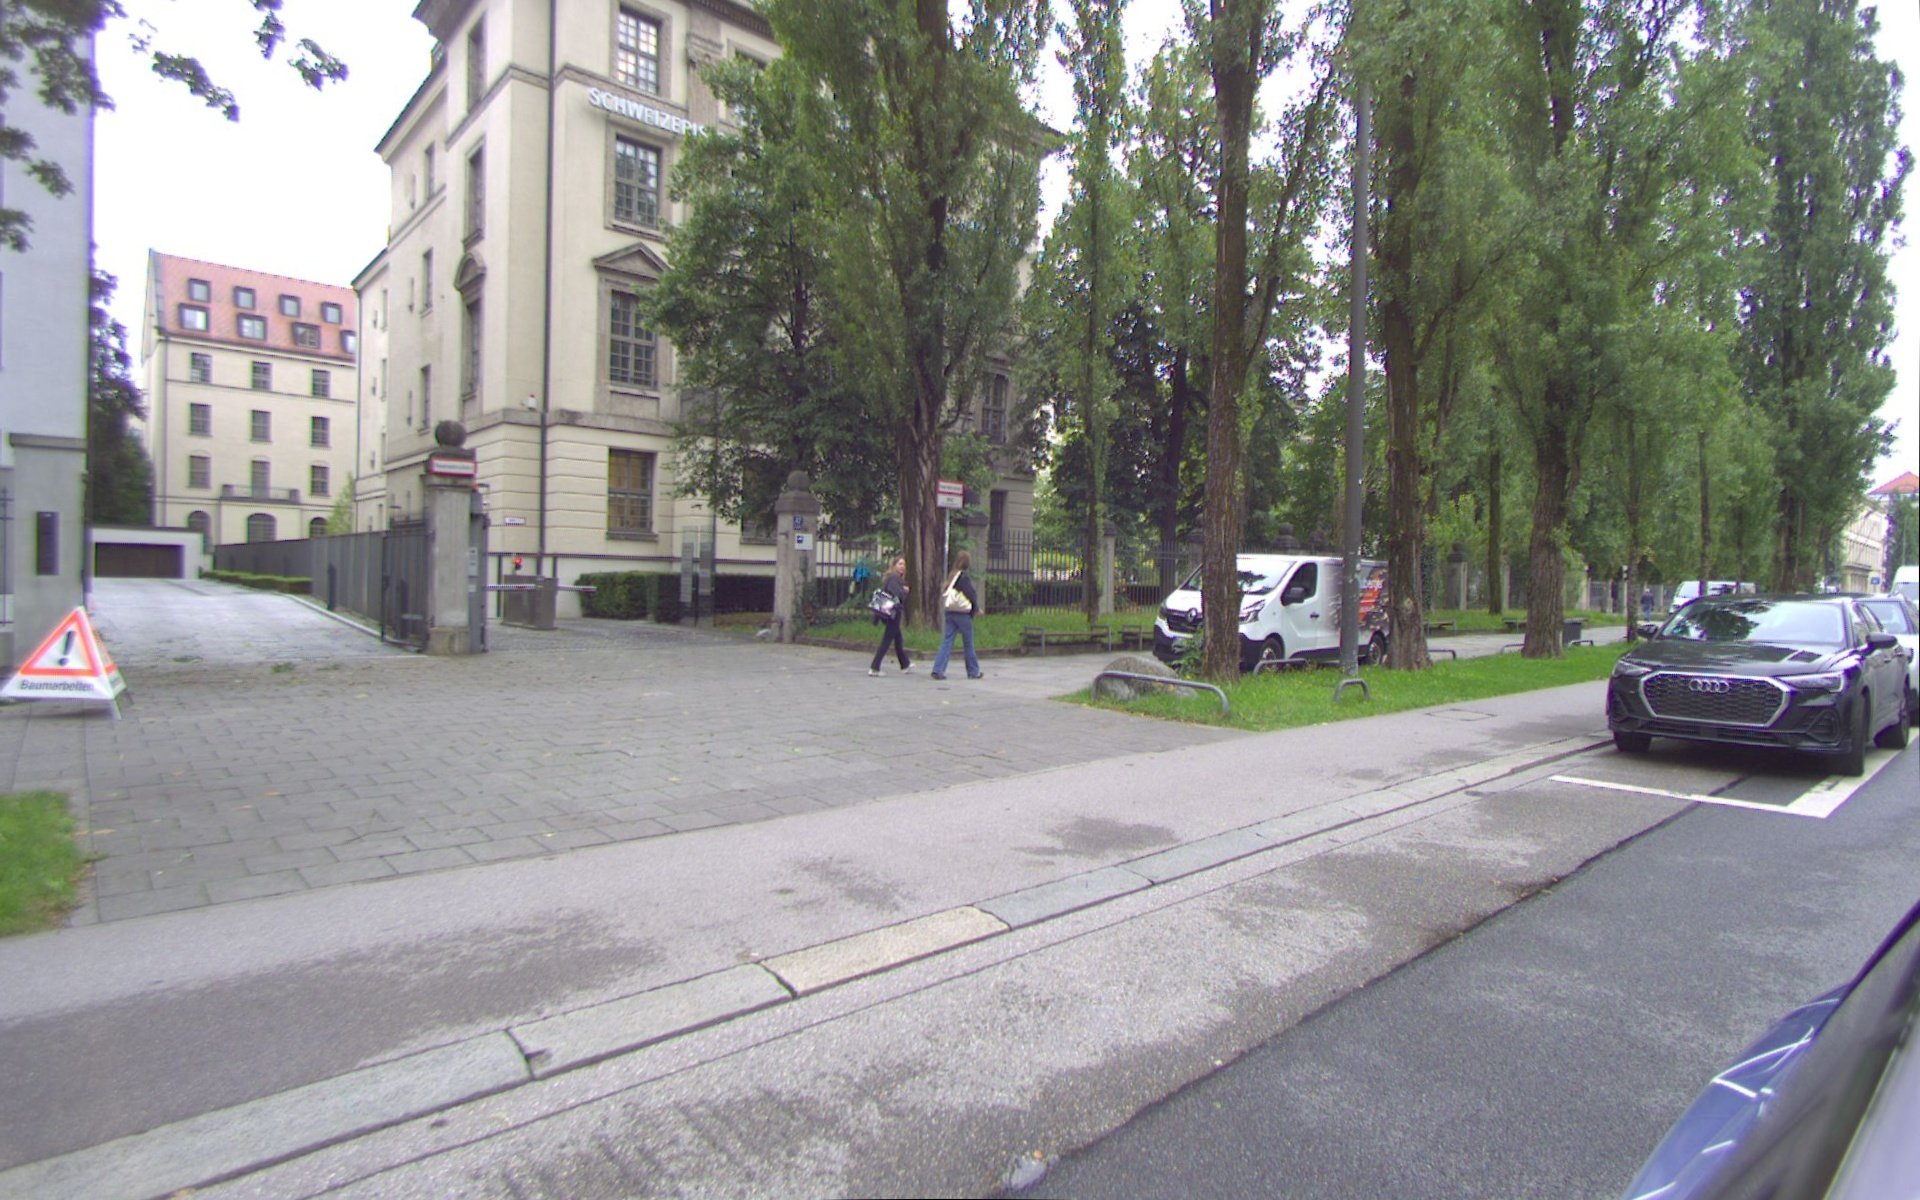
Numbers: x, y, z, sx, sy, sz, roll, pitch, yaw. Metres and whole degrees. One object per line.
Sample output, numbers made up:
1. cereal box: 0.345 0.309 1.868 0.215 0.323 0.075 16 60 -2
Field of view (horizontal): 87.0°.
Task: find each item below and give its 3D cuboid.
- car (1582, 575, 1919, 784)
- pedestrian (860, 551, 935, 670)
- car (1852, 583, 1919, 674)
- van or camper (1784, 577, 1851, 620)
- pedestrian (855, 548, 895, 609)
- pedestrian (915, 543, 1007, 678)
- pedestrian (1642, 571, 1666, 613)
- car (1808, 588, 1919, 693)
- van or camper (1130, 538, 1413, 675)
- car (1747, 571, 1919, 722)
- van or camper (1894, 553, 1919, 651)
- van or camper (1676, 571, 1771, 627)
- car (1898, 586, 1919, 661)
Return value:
1. car: 7.874 0.595 9.841 4.386 1.560 1.884 0 1 -41
2. pedestrian: -0.873 0.133 14.105 0.852 1.598 0.568 0 2 -42
3. car: 19.305 0.539 20.134 4.558 1.638 1.787 0 1 -42
4. van or camper: 42.941 -0.088 50.634 4.902 2.039 2.005 0 0 -43
5. pedestrian: -2.541 -0.656 30.295 0.879 1.790 0.797 1 1 -38
6. pedestrian: 0.007 0.119 13.690 0.852 1.738 0.855 0 2 -42
7. pedestrian: 34.760 -0.397 50.703 0.898 2.038 0.946 2 1 33
8. car: 15.704 0.614 16.941 4.221 1.539 1.705 0 1 -42
9. van or camper: 5.342 0.084 16.926 5.275 1.958 2.080 0 0 -41
10. car: 12.189 0.526 13.599 4.501 1.696 1.746 0 1 -42
11. van or camper: 27.967 0.076 28.258 6.306 2.572 2.142 0 1 -42
12. van or camper: 28.641 -0.033 37.895 4.952 1.958 1.978 0 0 -42
13. car: 23.200 0.551 23.509 4.344 1.669 1.786 0 1 -44
